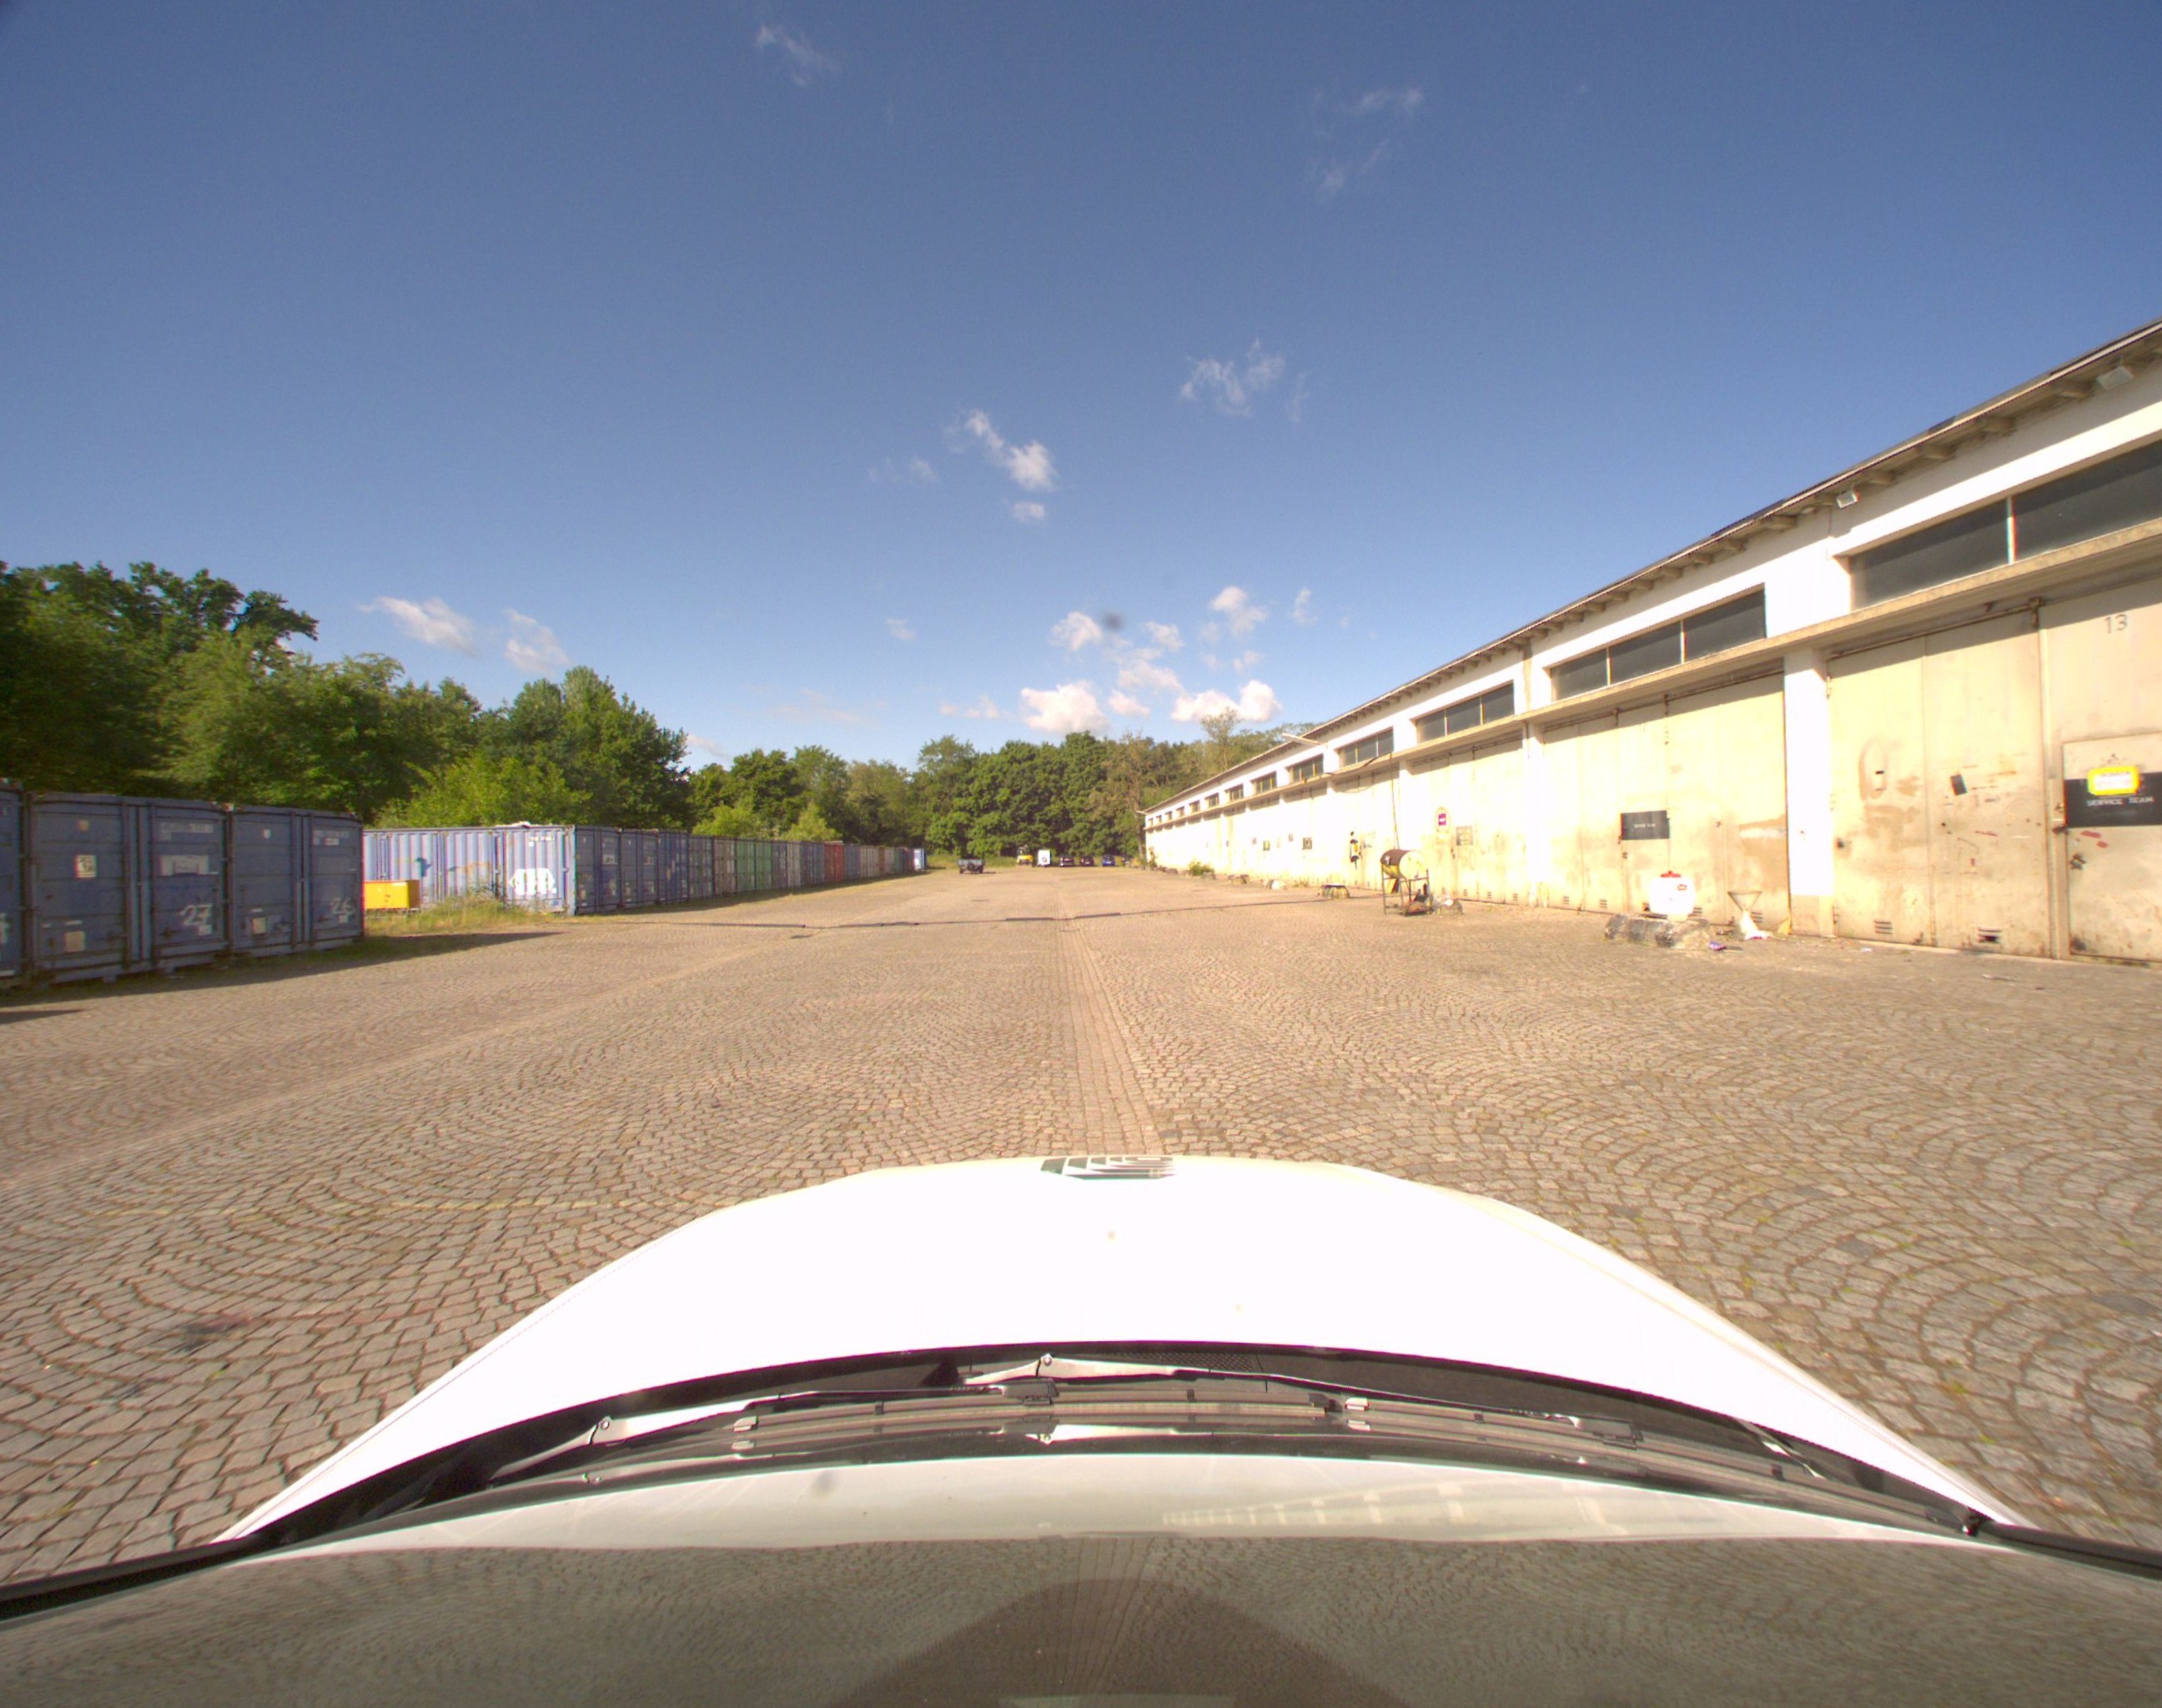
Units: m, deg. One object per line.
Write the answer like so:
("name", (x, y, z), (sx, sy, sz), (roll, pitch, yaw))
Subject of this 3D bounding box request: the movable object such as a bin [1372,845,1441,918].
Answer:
("movable object such as a bin", (6.574, 0.536, 16.500), (0.873, 1.401, 1.100), (-2, 0, -4))

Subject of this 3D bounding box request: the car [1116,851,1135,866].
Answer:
("car", (5.491, 0.531, 101.267), (1.989, 1.772, 3.996), (-2, 0, -3))

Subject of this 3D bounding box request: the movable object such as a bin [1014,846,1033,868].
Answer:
("movable object such as a bin", (-7.106, 0.393, 100.990), (2.228, 2.657, 3.993), (-2, 0, -5))

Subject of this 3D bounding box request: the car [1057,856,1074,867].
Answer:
("car", (-1.892, 0.949, 99.268), (1.989, 1.258, 3.996), (-2, 0, -3))

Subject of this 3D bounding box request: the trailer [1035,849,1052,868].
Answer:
("trailer", (-4.615, 0.562, 100.362), (1.989, 2.162, 4.427), (-2, 0, -3))

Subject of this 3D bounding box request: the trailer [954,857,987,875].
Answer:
("trailer", (-10.995, 1.172, 81.459), (2.785, 1.646, 5.614), (-2, 0, -3))

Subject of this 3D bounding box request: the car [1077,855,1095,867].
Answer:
("car", (0.610, 0.844, 99.774), (1.989, 1.424, 3.996), (-2, 0, -3))

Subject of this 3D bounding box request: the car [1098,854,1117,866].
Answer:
("car", (3.191, 0.723, 99.900), (1.989, 1.466, 3.996), (-2, 0, -3))
